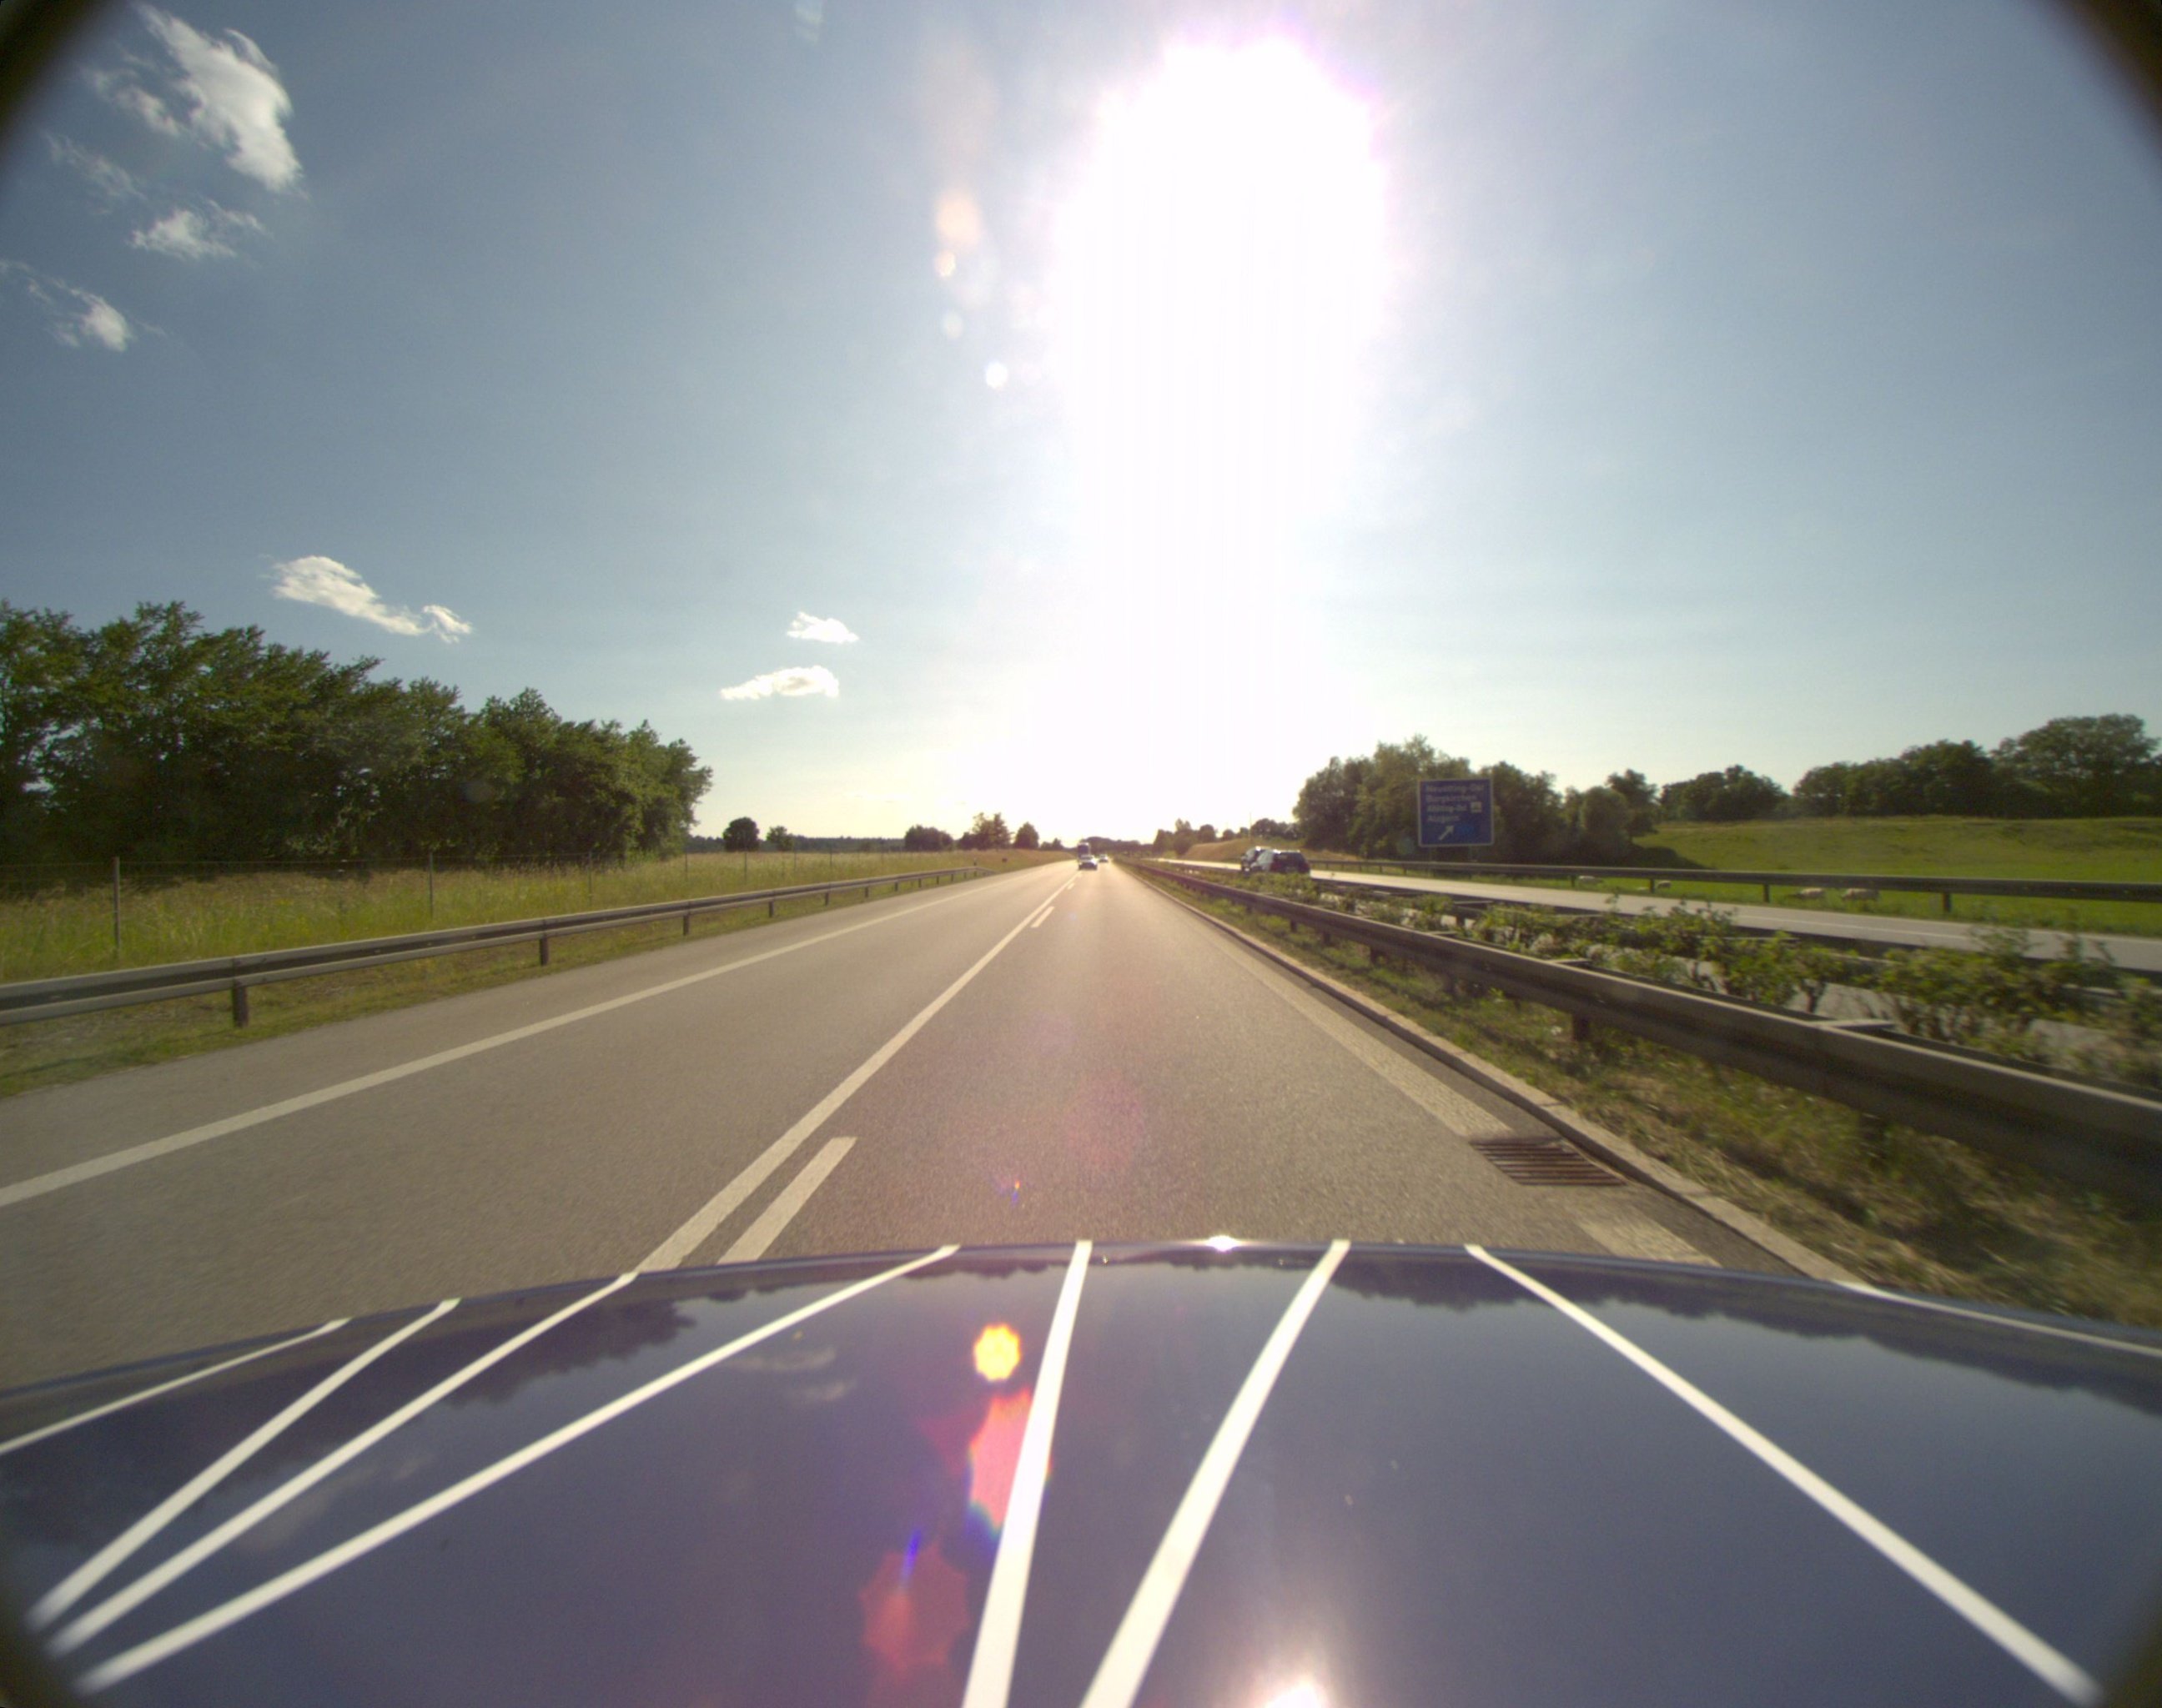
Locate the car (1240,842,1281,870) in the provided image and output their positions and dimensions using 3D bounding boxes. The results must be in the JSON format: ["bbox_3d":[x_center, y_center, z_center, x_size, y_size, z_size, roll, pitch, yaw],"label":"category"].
[{"bbox_3d":[12.559,0.131,53.523,1.854,1.793,4.871,-1,0,2],"label":"car"}]

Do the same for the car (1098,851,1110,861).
[{"bbox_3d":[4.034,0.330,134.464,1.998,1.652,4.000,1,0,1],"label":"car"}]

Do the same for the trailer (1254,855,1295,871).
[{"bbox_3d":[12.424,0.580,49.055,1.746,0.931,4.020,-1,0,1],"label":"trailer"}]

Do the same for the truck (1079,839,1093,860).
[{"bbox_3d":[1.112,-0.905,160.743,2.536,4.228,11.266,-1,1,3],"label":"truck"}]

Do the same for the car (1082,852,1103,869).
[{"bbox_3d":[1.099,0.593,71.404,1.870,1.514,4.284,0,0,2],"label":"car"}]

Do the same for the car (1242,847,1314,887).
[{"bbox_3d":[7.946,0.468,31.049,1.684,1.451,4.925,1,1,1],"label":"car"}]
